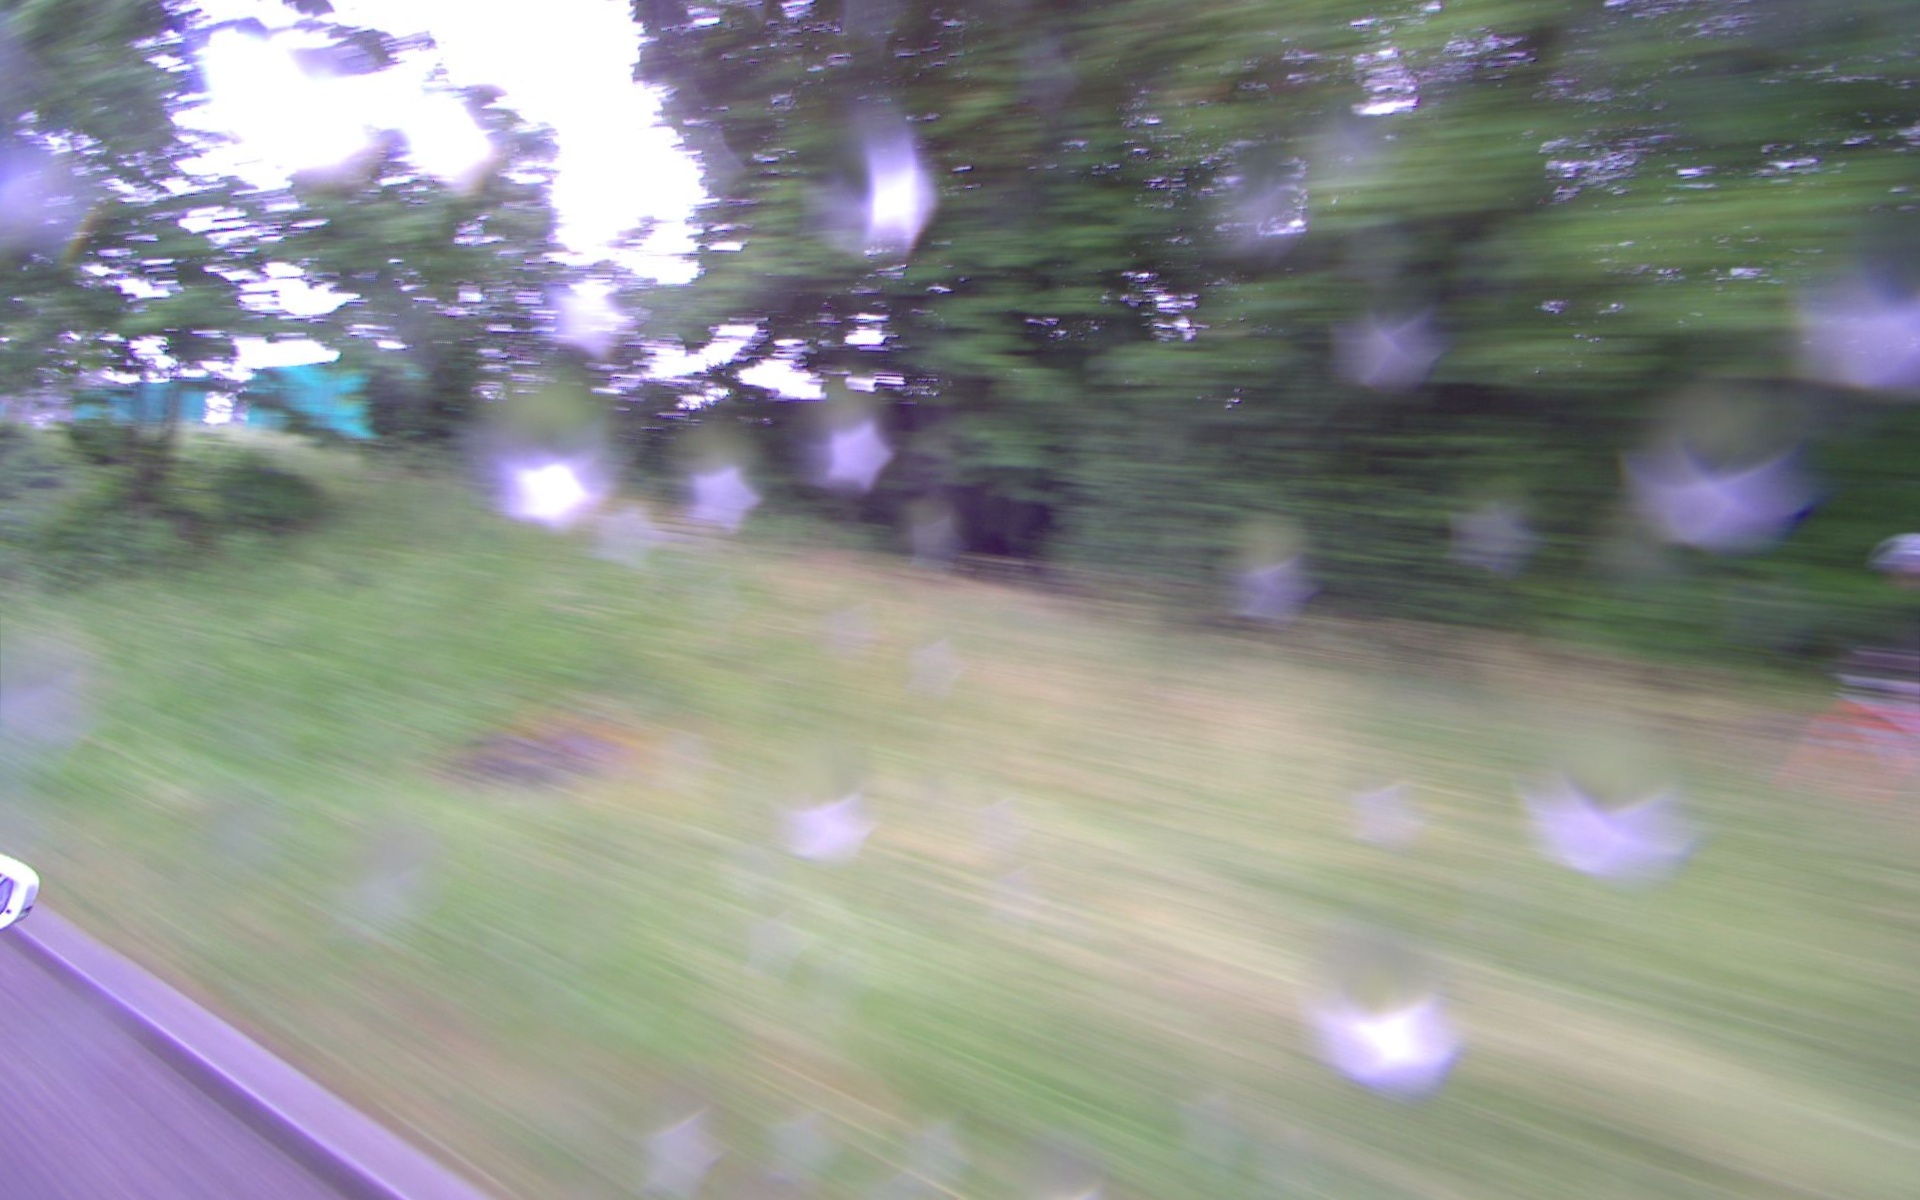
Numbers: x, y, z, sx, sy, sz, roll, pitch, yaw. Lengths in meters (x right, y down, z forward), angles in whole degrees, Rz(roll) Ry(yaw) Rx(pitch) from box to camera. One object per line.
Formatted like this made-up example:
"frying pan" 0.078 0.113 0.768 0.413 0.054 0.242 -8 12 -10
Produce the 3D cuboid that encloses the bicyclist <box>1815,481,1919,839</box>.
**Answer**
"bicyclist" 4.826 0.343 4.698 0.890 1.635 0.721 13 3 32

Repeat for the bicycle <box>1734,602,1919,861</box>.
"bicycle" 4.769 0.709 4.721 1.594 1.098 0.528 12 3 33
